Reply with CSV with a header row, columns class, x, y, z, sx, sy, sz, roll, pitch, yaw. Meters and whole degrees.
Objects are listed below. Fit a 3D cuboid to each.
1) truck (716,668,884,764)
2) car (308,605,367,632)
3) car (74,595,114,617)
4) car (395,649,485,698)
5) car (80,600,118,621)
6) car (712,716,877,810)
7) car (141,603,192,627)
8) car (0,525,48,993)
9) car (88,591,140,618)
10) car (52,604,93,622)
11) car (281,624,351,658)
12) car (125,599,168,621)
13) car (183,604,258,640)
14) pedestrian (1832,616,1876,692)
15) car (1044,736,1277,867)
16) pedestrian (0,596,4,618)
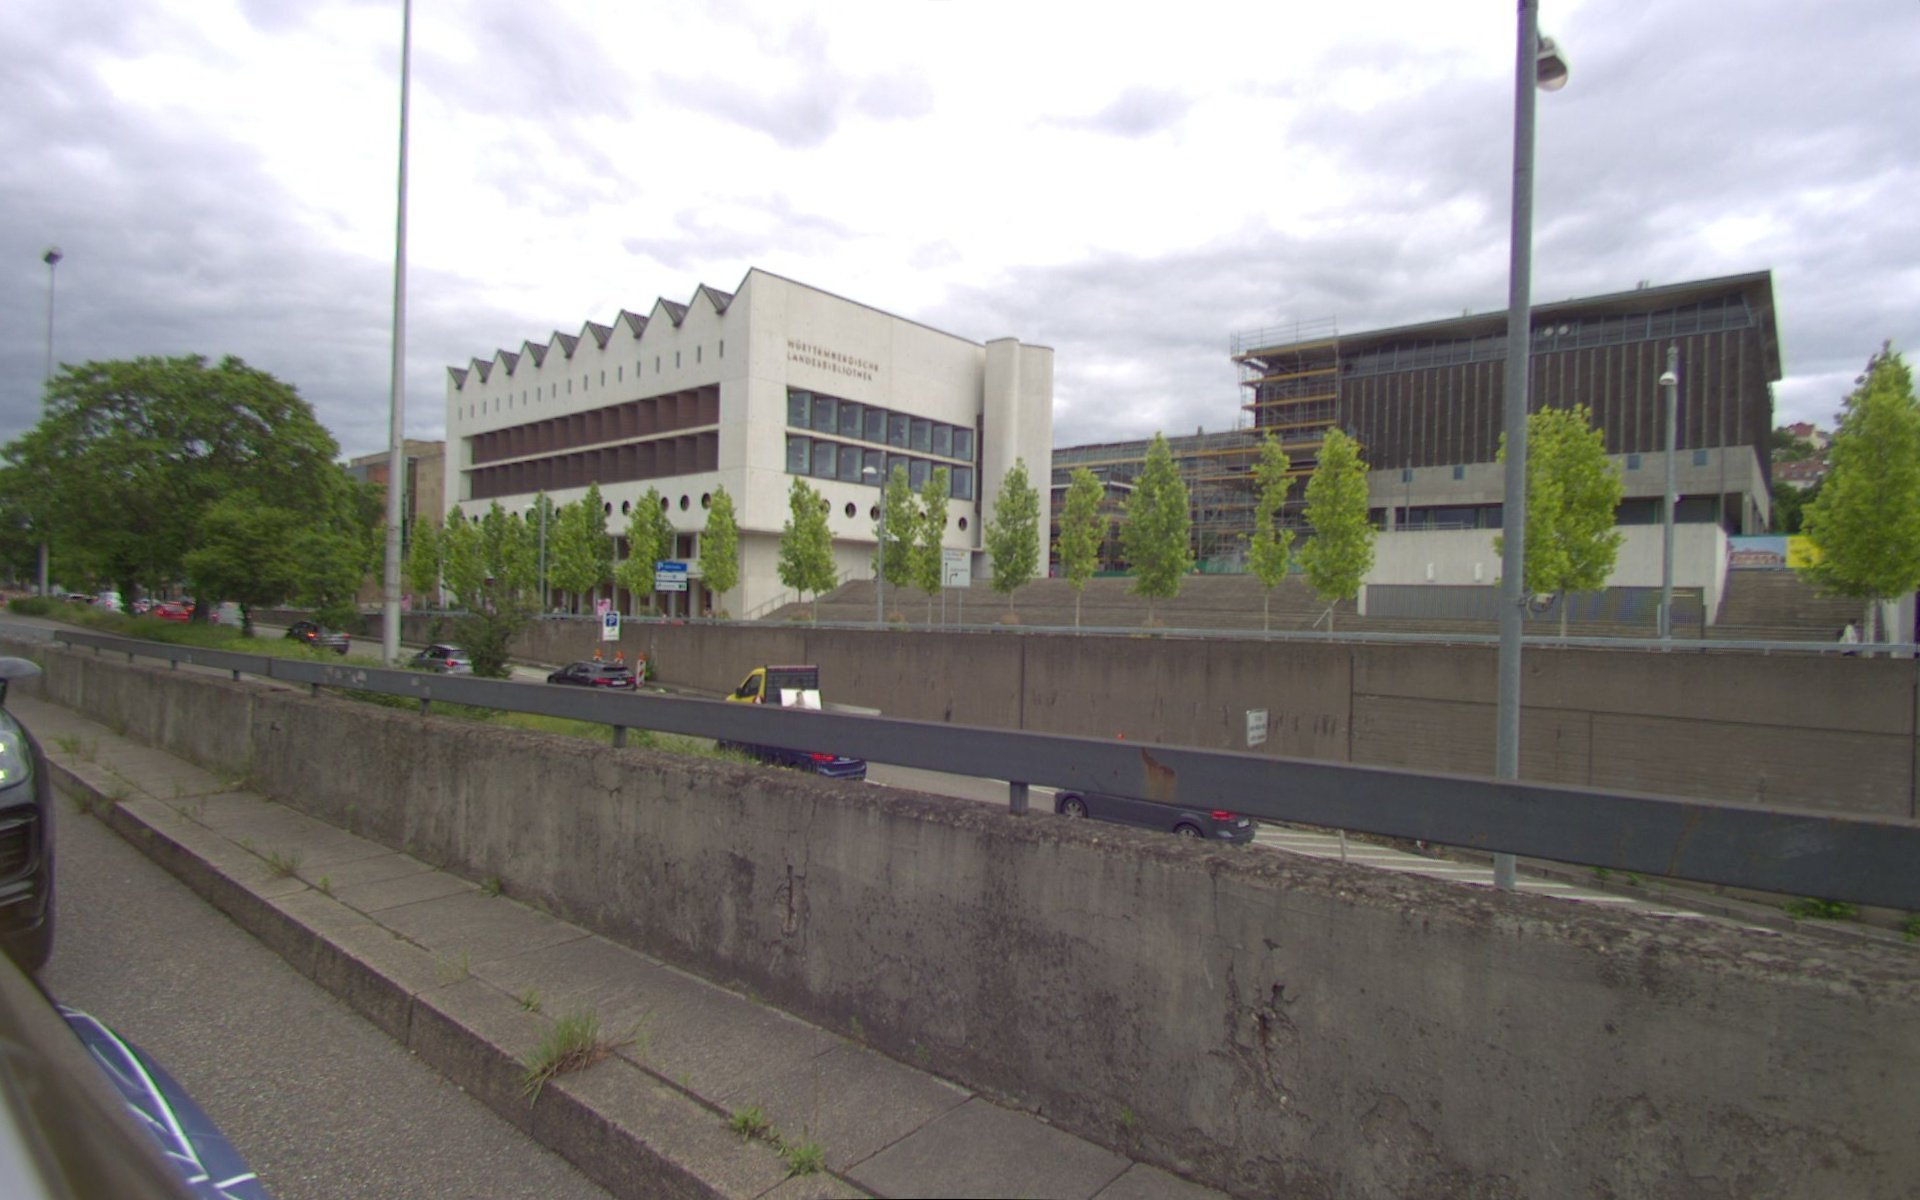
class,x,y,z,sx,sy,sz,roll,pitch,yaw
truck,-4.857,3.326,30.143,5.381,2.419,2.158,-2,-2,44
car,-44.222,1.310,71.839,4.732,1.869,2.152,-1,-2,40
car,-69.386,0.512,81.064,4.144,1.500,1.757,3,0,40
car,-20.165,2.813,39.200,3.904,1.553,1.696,1,2,39
car,-78.981,0.996,92.809,3.998,1.776,1.973,0,-3,41
car,-4.139,3.916,24.955,4.167,1.582,1.792,1,2,41
car,-52.289,0.996,66.670,3.999,1.497,1.972,-1,-2,42
car,-5.561,0.539,4.506,4.733,1.602,1.879,0,0,44
car,-62.479,0.313,74.697,5.247,1.651,1.973,2,-5,41
car,-74.470,1.067,84.876,3.998,1.409,1.973,0,-4,41
car,-31.481,1.966,49.421,3.999,1.560,1.855,0,-1,42
car,-65.230,0.816,81.157,4.141,1.500,1.758,3,0,38
car,-43.314,1.296,59.266,5.108,2.029,2.197,-1,-1,38
pedestrian,24.643,1.479,27.885,0.730,2.029,0.793,1,-3,-44
car,4.253,4.206,21.842,4.393,1.780,2.140,4,0,41
pedestrian,-89.131,0.645,93.711,0.741,2.029,0.782,-3,-3,42
